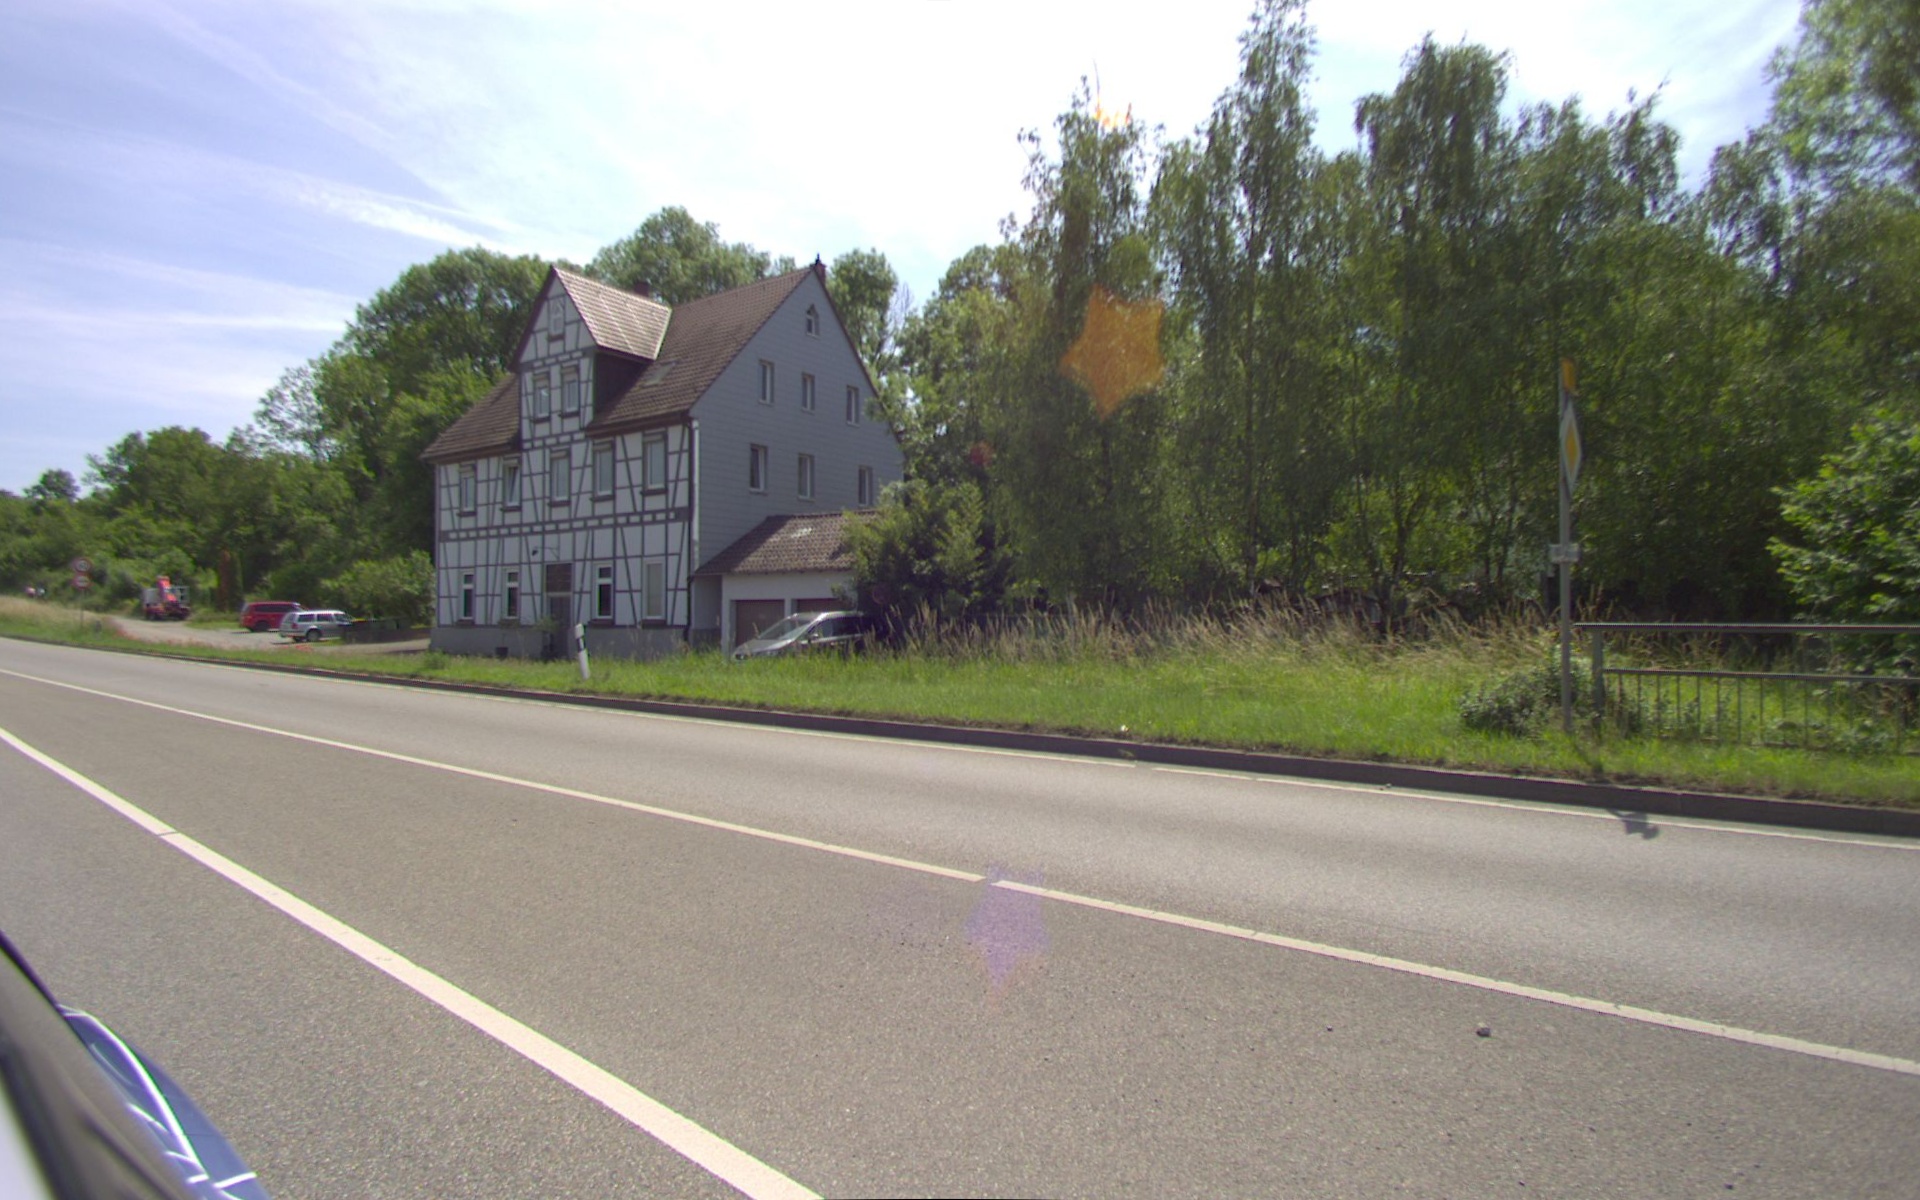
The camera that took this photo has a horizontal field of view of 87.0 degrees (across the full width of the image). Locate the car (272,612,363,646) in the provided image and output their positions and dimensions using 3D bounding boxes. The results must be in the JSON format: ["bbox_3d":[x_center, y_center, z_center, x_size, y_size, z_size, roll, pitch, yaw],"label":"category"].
[{"bbox_3d":[-30.940,1.380,48.775,1.606,1.476,3.349,0,1,34],"label":"car"}]

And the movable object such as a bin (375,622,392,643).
[{"bbox_3d":[-27.773,1.567,48.752,0.652,0.983,0.499,1,1,32],"label":"movable object such as a bin"}]

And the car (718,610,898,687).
[{"bbox_3d":[-3.808,1.194,26.137,1.858,1.733,4.622,-3,-1,36],"label":"car"}]

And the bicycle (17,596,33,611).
[{"bbox_3d":[-79.789,0.305,86.369,2.103,1.221,0.741,1,1,41],"label":"bicycle"}]

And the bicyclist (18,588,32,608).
[{"bbox_3d":[-79.823,-0.176,86.392,0.935,1.607,0.740,0,1,40],"label":"bicyclist"}]

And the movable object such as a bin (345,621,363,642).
[{"bbox_3d":[-28.549,1.482,47.651,0.652,0.977,0.499,1,1,32],"label":"movable object such as a bin"}]

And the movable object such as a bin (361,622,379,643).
[{"bbox_3d":[-28.158,1.550,48.262,0.652,0.978,0.499,1,1,32],"label":"movable object such as a bin"}]

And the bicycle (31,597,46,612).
[{"bbox_3d":[-76.767,0.348,84.295,2.105,1.189,0.740,1,1,43],"label":"bicycle"}]

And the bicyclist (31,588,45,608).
[{"bbox_3d":[-76.781,-0.173,84.293,0.936,1.727,0.740,1,1,42],"label":"bicyclist"}]

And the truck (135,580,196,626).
[{"bbox_3d":[-54.218,0.148,68.987,6.770,2.986,2.005,1,1,41],"label":"truck"}]

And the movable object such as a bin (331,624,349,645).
[{"bbox_3d":[-28.888,1.623,47.174,0.652,0.943,0.499,1,1,32],"label":"movable object such as a bin"}]

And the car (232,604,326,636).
[{"bbox_3d":[-37.759,1.071,56.181,1.832,1.631,3.986,0,1,41],"label":"car"}]
